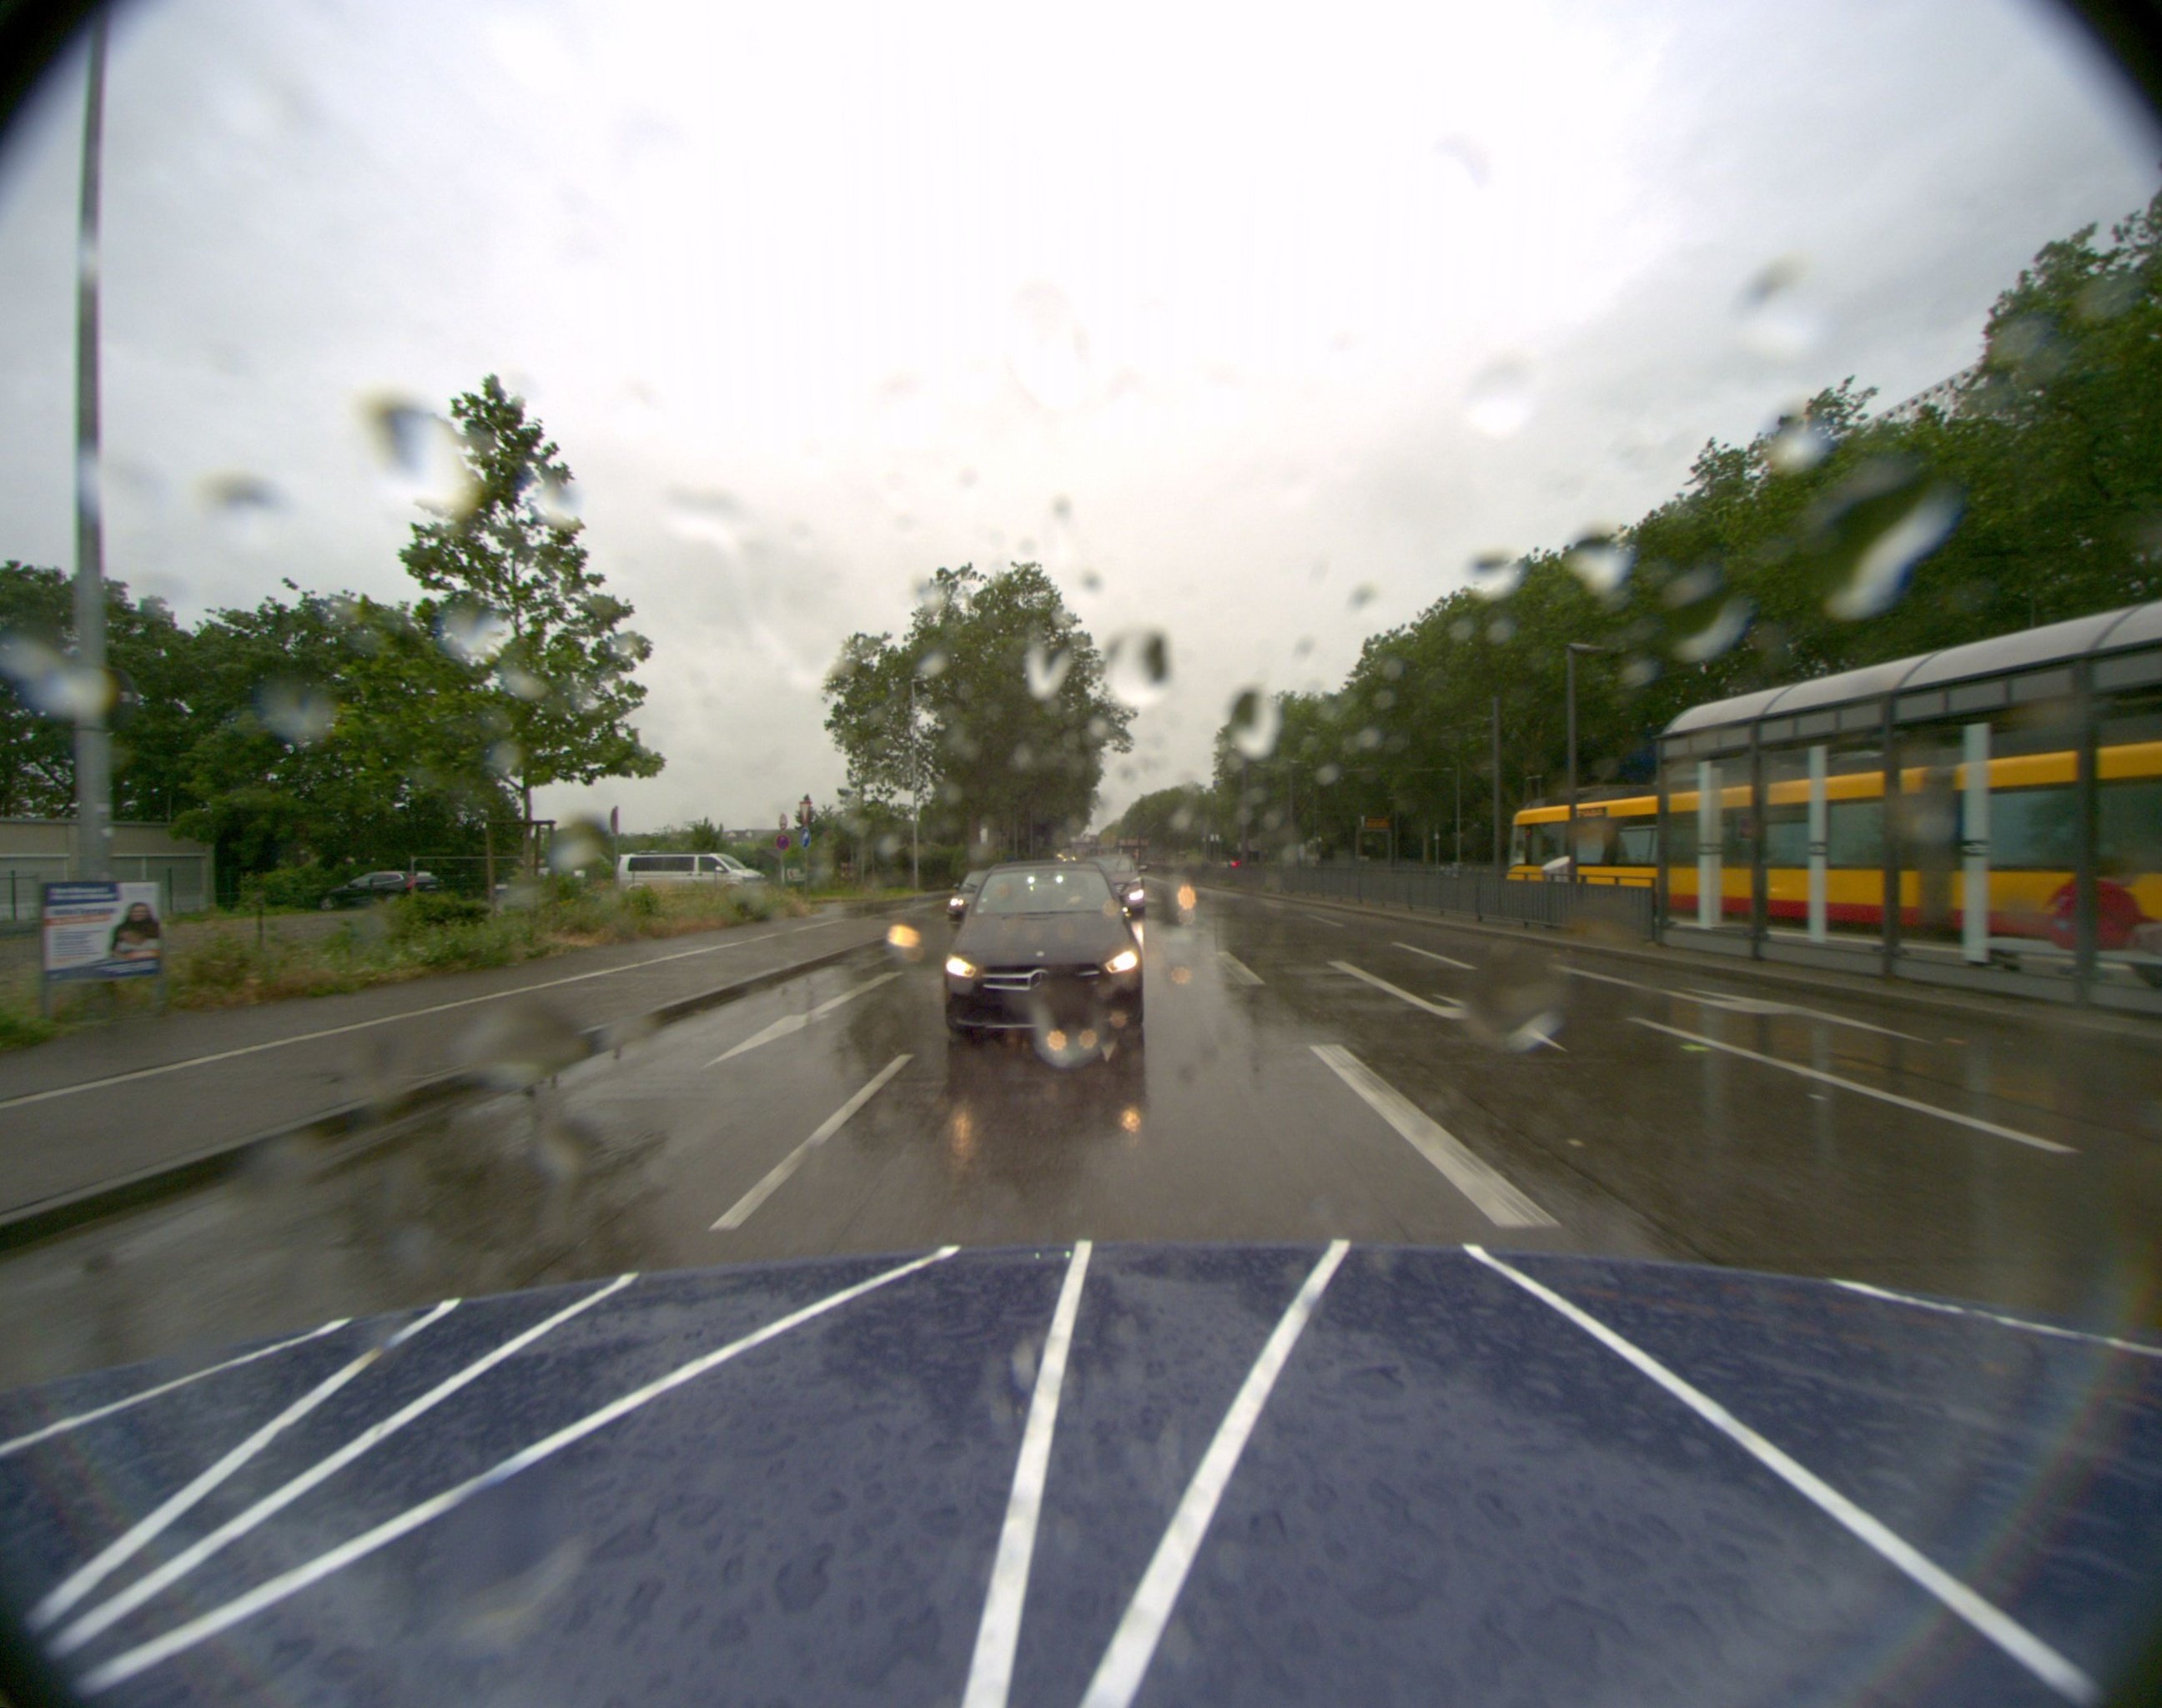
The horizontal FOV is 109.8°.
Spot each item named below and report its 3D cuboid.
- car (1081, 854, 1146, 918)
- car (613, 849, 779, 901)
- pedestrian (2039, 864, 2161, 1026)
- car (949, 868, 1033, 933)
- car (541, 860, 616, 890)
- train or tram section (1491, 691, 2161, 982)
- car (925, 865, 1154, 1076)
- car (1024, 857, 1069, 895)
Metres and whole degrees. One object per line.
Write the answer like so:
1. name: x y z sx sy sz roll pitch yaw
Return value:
1. car: 0.841 0.830 21.673 1.689 1.611 4.000 0 0 0
2. car: -14.546 0.756 28.954 5.175 1.716 2.006 -2 1 -3
3. pedestrian: 8.207 0.707 6.086 0.458 1.229 0.467 -1 2 13
4. car: -2.113 1.067 18.665 1.601 1.358 3.630 0 0 0
5. car: -29.954 1.241 45.325 3.552 1.575 1.345 -2 1 4
6. train or tram section: 15.682 -0.373 17.300 3.751 3.777 15.566 -2 1 -2
7. car: -0.459 0.941 8.088 1.759 1.572 4.167 -2 0 -4
8. car: -1.509 0.960 34.646 1.706 1.499 3.879 -2 1 2
